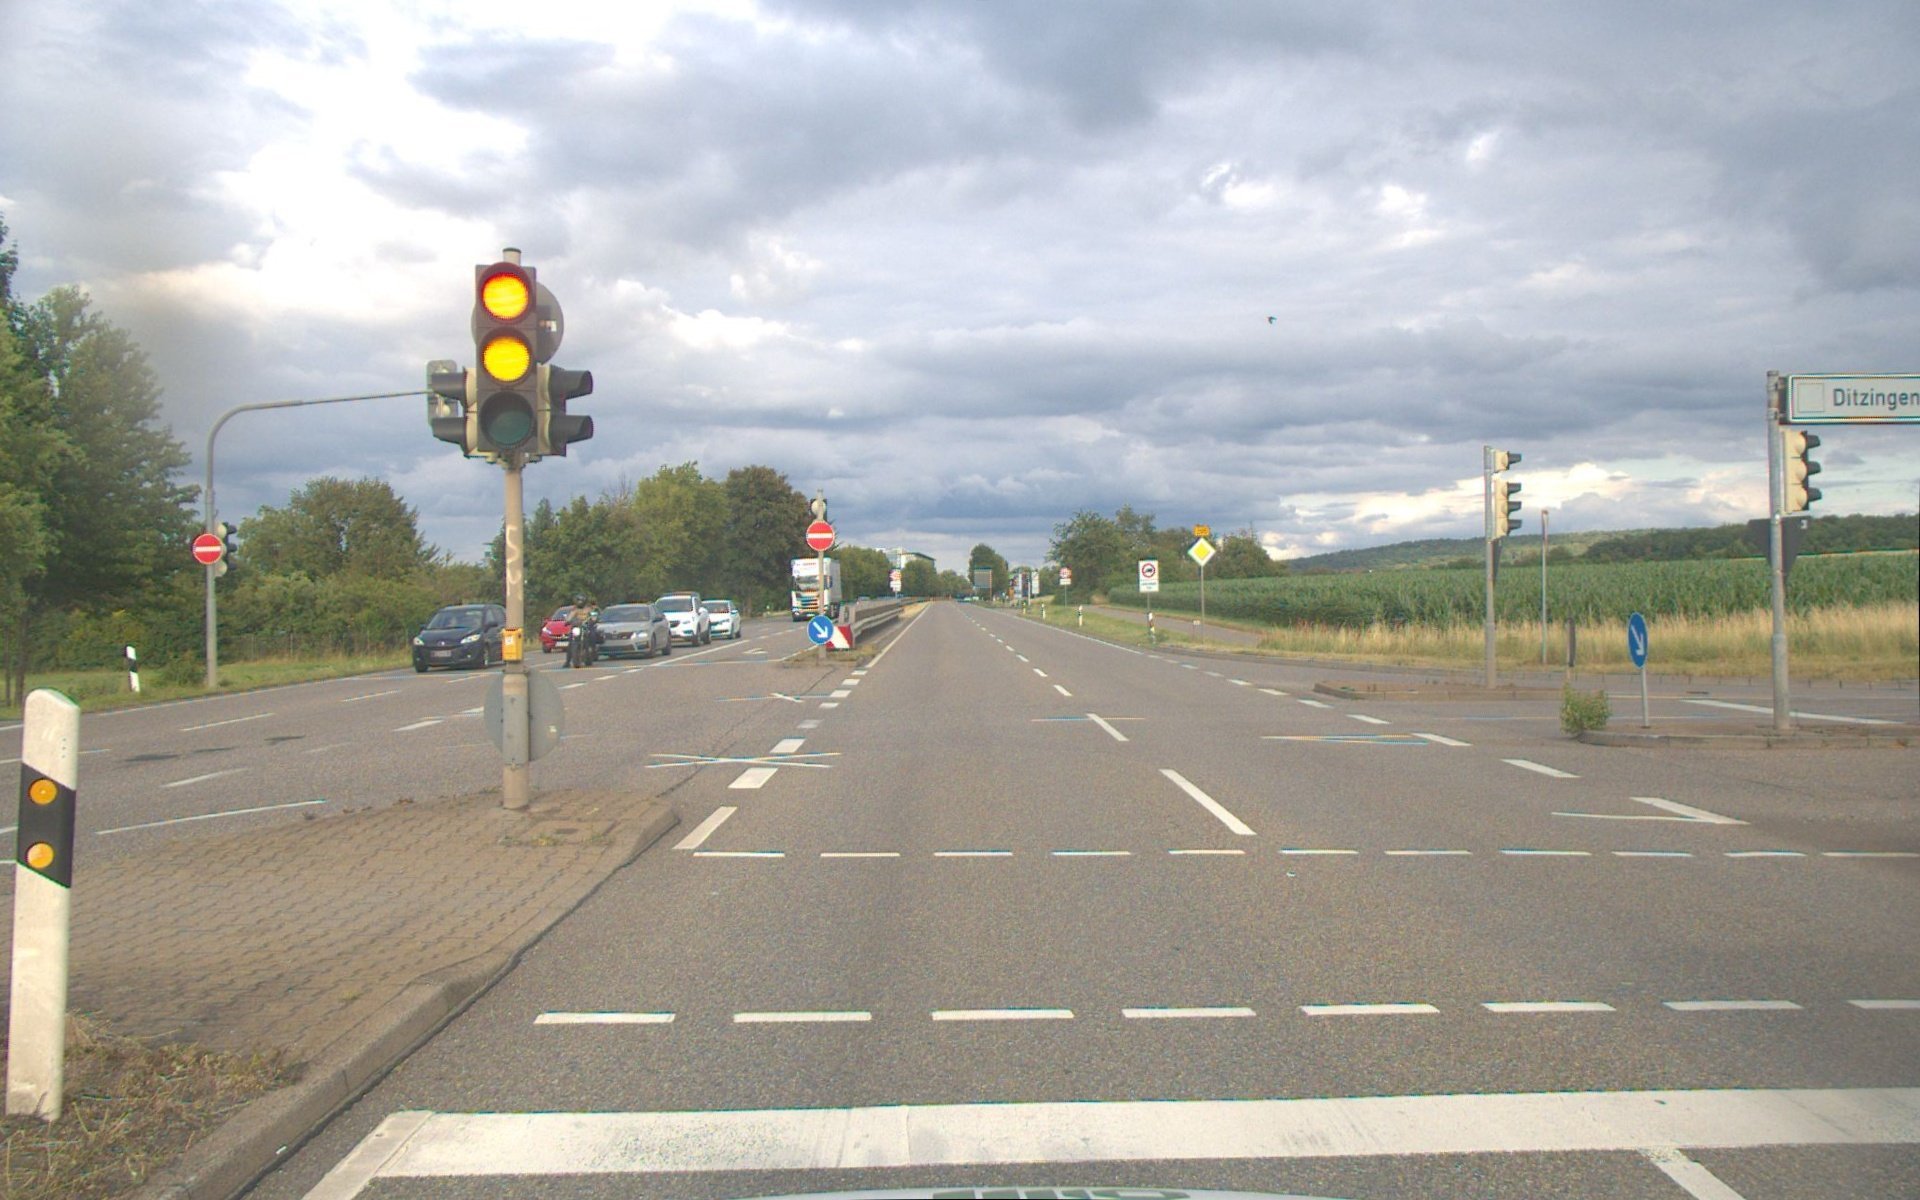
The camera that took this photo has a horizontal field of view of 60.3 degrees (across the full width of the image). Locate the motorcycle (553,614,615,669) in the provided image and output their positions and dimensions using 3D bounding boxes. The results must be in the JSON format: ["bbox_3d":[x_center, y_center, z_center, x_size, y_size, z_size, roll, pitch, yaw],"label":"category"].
[{"bbox_3d":[-8.947,0.961,39.488,0.897,1.224,2.478,-2,0,0],"label":"motorcycle"}]

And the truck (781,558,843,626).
[{"bbox_3d":[-9.653,-0.521,108.667,3.404,4.223,6.048,-3,0,-1],"label":"truck"}]

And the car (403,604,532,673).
[{"bbox_3d":[-12.522,0.934,42.380,1.869,1.562,4.937,-2,0,-1],"label":"car"}]

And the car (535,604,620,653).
[{"bbox_3d":[-12.569,0.914,54.549,1.869,1.490,4.183,-2,0,-1],"label":"car"}]

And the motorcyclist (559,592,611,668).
[{"bbox_3d":[-8.946,0.706,39.488,0.897,1.738,1.276,-2,0,-1],"label":"motorcyclist"}]

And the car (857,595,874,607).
[{"bbox_3d":[-11.461,0.125,200.683,1.752,1.410,4.159,-2,0,-1],"label":"car"}]

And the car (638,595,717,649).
[{"bbox_3d":[-9.232,0.680,54.363,1.869,1.638,4.404,-2,0,-1],"label":"car"}]

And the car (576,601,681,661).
[{"bbox_3d":[-8.952,0.804,45.041,1.869,1.453,5.151,-2,0,-1],"label":"car"}]

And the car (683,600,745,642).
[{"bbox_3d":[-9.281,0.757,62.571,1.752,1.469,4.159,-2,0,-1],"label":"car"}]
